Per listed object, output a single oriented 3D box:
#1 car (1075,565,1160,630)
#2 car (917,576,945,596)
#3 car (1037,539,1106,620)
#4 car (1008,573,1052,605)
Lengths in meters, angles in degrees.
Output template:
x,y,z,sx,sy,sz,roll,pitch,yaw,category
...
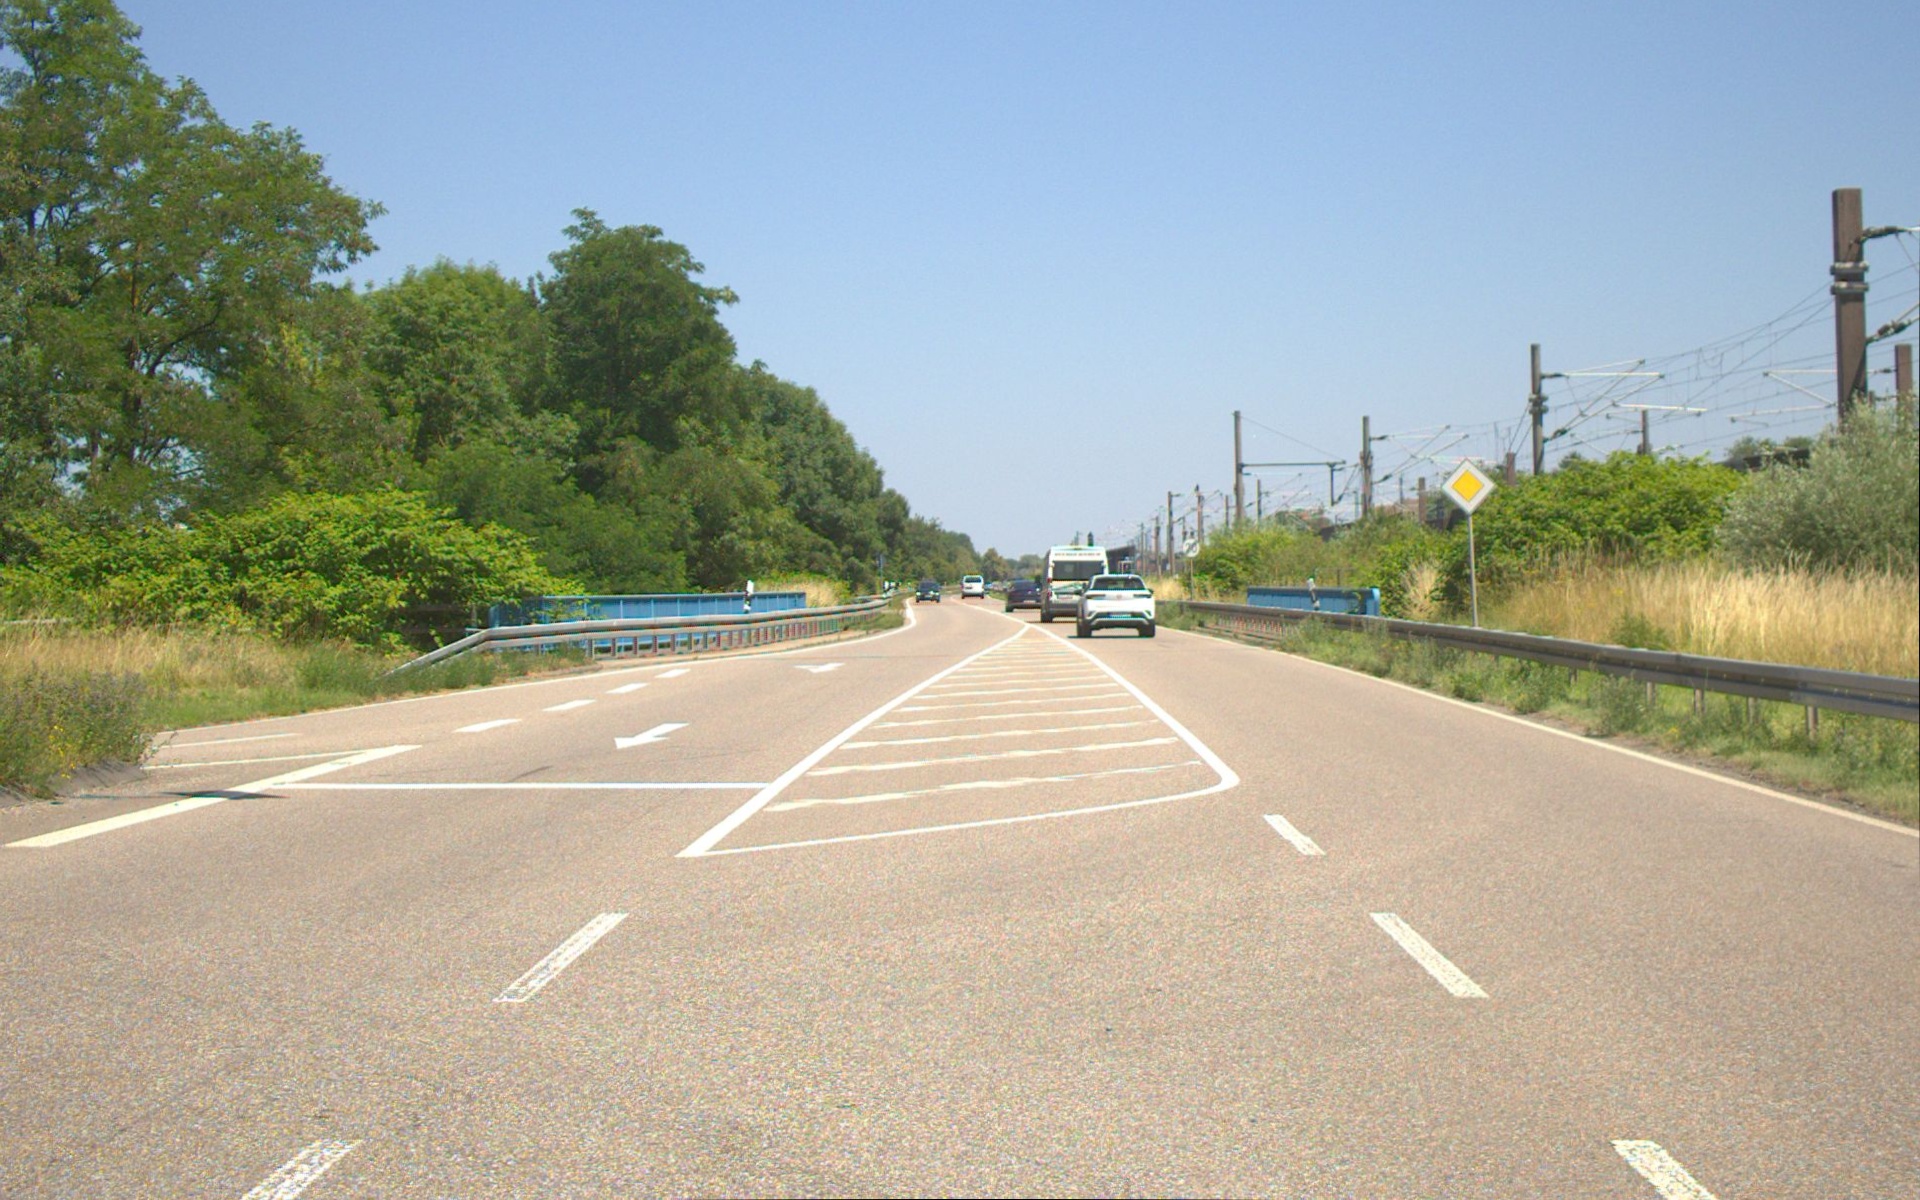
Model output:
x,y,z,sx,sy,sz,roll,pitch,yaw,category
3.851,-0.073,84.385,1.818,1.558,4.279,0,1,-1,car
-2.024,-0.975,240.541,1.856,1.375,4.503,1,1,0,car
3.668,-0.716,114.374,2.188,2.595,6.750,1,1,1,car
3.104,-0.506,153.282,1.856,1.375,4.503,1,1,0,car
